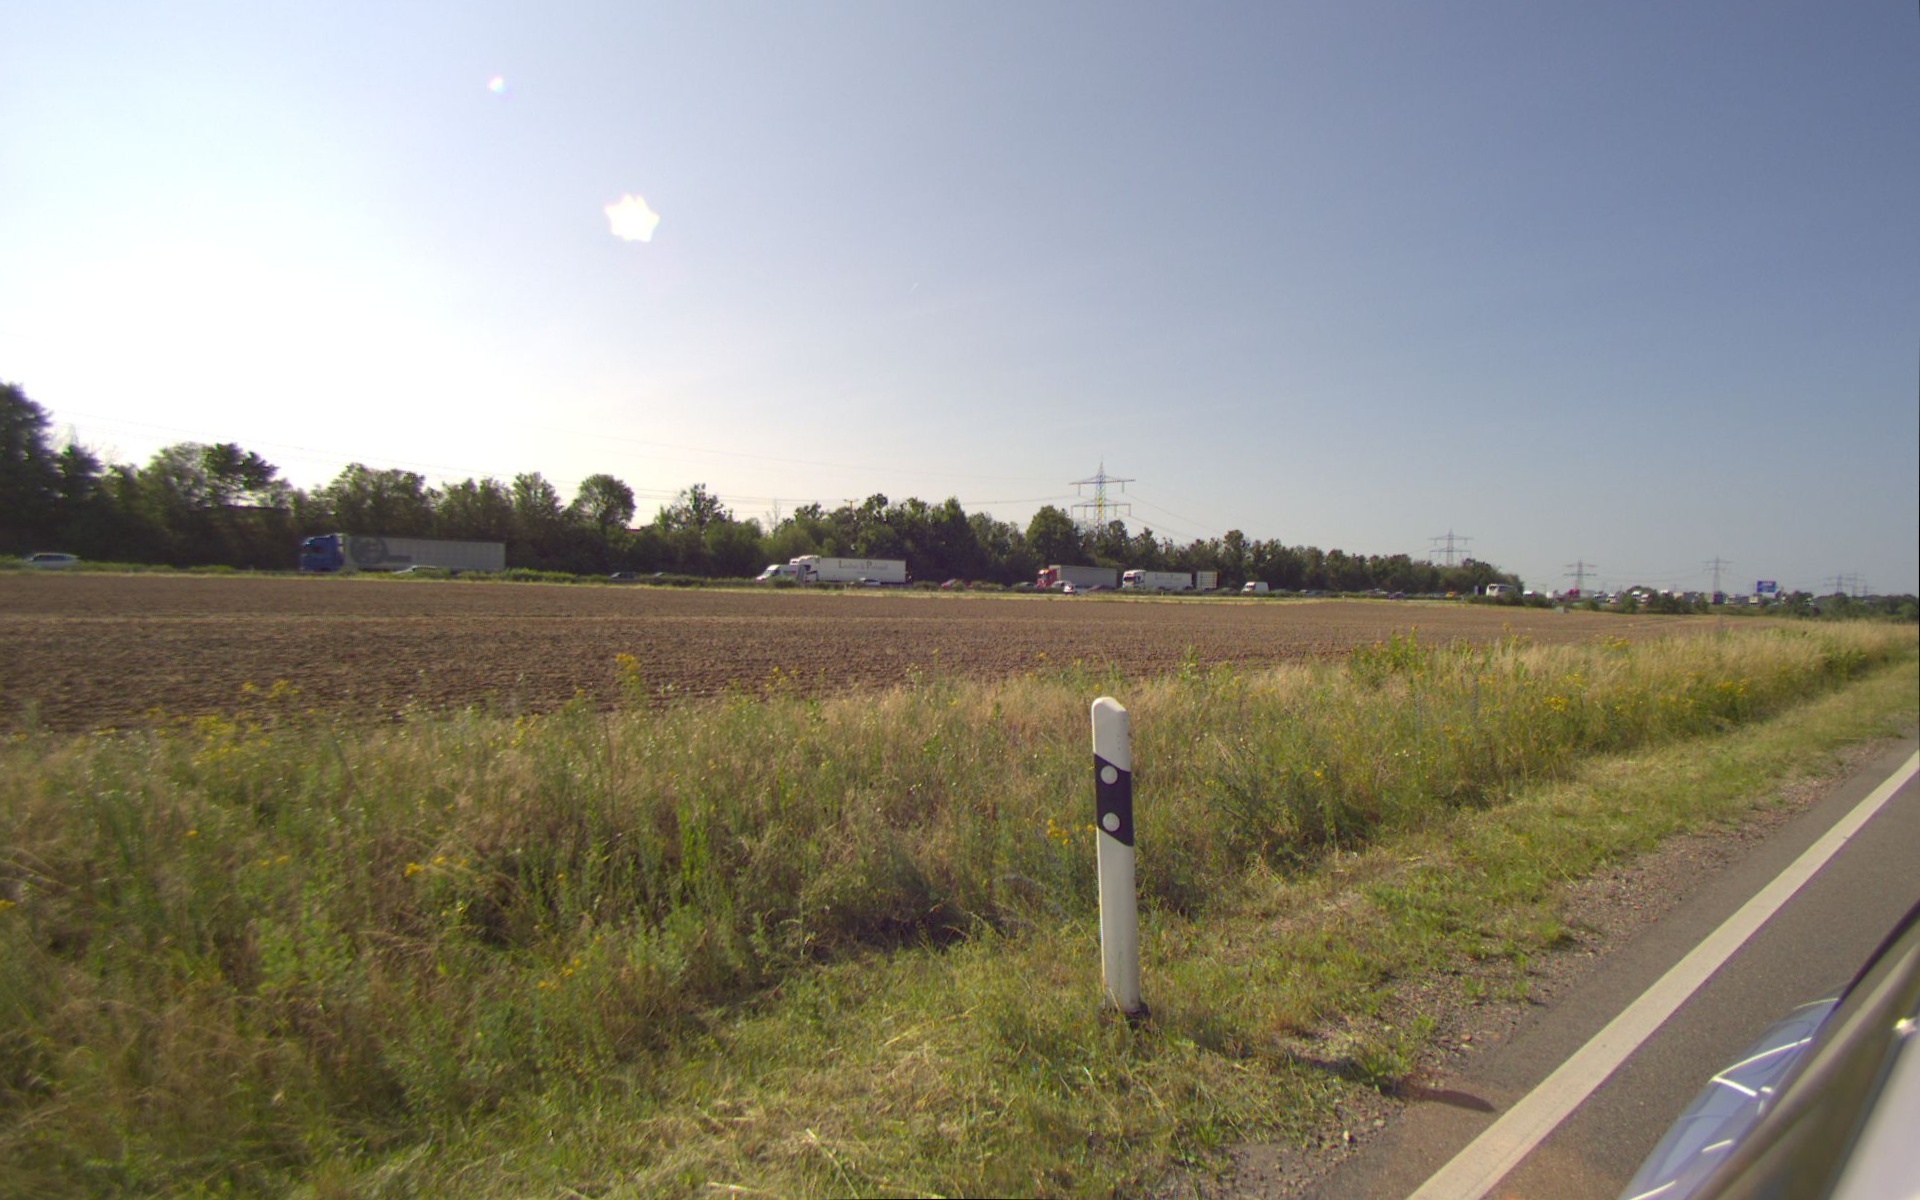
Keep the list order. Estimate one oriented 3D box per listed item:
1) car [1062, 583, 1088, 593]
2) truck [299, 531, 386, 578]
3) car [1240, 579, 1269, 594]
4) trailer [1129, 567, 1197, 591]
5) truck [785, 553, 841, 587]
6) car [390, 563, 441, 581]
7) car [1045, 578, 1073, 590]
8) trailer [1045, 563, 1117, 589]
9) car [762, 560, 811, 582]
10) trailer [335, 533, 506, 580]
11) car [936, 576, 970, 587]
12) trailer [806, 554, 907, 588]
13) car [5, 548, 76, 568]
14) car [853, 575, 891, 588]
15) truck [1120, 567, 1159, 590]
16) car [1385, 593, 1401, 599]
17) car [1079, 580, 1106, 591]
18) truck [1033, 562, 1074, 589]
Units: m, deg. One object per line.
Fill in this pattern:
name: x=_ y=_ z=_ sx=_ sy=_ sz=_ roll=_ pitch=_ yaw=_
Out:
car: x=15.021 y=-1.548 z=132.259 sx=3.558 sy=1.250 sz=1.547 roll=1 pitch=-2 yaw=-43
truck: x=-53.576 y=-3.886 z=87.889 sx=5.981 sy=3.780 sz=3.077 roll=1 pitch=1 yaw=-42
car: x=52.187 y=-2.404 z=179.322 sx=6.303 sy=2.478 sz=2.040 roll=0 pitch=0 yaw=-42
trailer: x=34.130 y=-3.420 z=169.446 sx=14.830 sy=3.575 sz=3.206 roll=1 pitch=2 yaw=-44
truck: x=-17.590 y=-3.581 z=121.330 sx=6.012 sy=3.780 sz=3.077 roll=1 pitch=1 yaw=-42
car: x=-45.915 y=-2.334 z=85.337 sx=3.542 sy=1.403 sz=1.493 roll=1 pitch=0 yaw=-43
car: x=13.934 y=-2.256 z=142.347 sx=4.025 sy=1.659 sz=1.704 roll=0 pitch=0 yaw=-44
trailer: x=18.738 y=-3.637 z=155.379 sx=13.549 sy=3.780 sz=2.949 roll=1 pitch=1 yaw=-43
car: x=-19.017 y=-3.161 z=110.948 sx=5.149 sy=2.228 sz=1.907 roll=1 pitch=-1 yaw=-43
trailer: x=-48.822 y=-3.859 z=92.145 sx=13.393 sy=3.780 sz=3.077 roll=1 pitch=1 yaw=-42
car: x=-0.839 y=-2.358 z=129.406 sx=4.176 sy=1.403 sz=1.852 roll=1 pitch=0 yaw=-43
trailer: x=-12.733 y=-3.548 z=125.738 sx=13.136 sy=3.780 sz=3.076 roll=1 pitch=1 yaw=-42
car: x=-62.943 y=-2.874 z=69.343 sx=3.520 sy=1.166 sz=1.396 roll=1 pitch=0 yaw=-42
car: x=-10.461 y=-2.158 z=120.308 sx=4.176 sy=1.403 sz=1.852 roll=1 pitch=0 yaw=-43
truck: x=29.160 y=-3.464 z=164.686 sx=6.006 sy=3.575 sz=3.207 roll=1 pitch=2 yaw=-43
car: x=83.707 y=-0.763 z=195.828 sx=3.558 sy=1.250 sz=1.547 roll=1 pitch=-2 yaw=-43
car: x=19.306 y=-2.083 z=147.310 sx=4.025 sy=1.528 sz=1.705 roll=0 pitch=0 yaw=-43
truck: x=13.929 y=-3.662 z=150.831 sx=5.770 sy=3.780 sz=2.949 roll=1 pitch=1 yaw=-43
